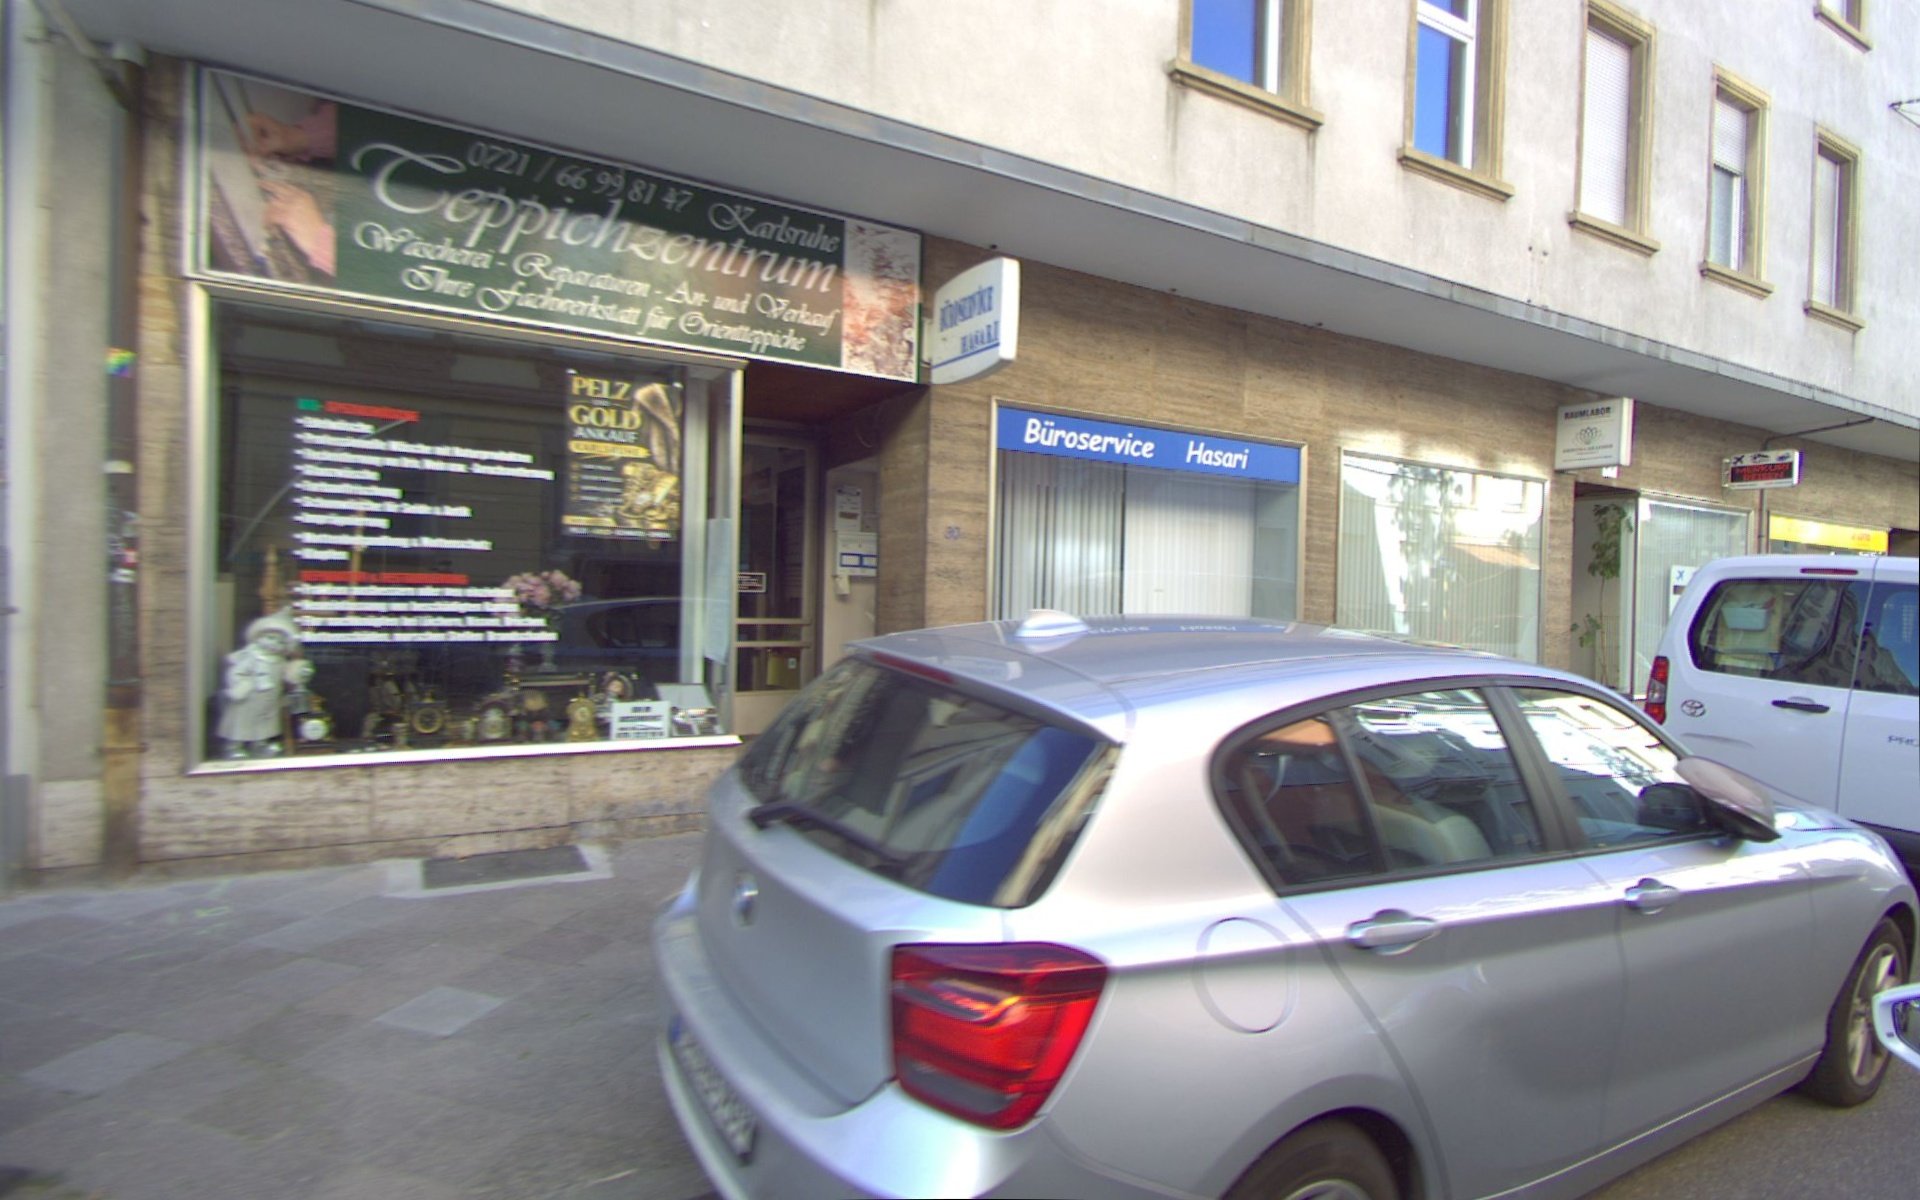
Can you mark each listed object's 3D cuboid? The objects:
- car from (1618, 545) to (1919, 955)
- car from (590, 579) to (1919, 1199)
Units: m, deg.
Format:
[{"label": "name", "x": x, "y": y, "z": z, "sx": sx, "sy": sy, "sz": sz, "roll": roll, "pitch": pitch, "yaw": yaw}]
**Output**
[{"label": "car", "x": 6.317, "y": 0.768, "z": 6.354, "sx": 4.754, "sy": 1.924, "sz": 1.758, "roll": 2, "pitch": -2, "yaw": -31}, {"label": "car", "x": 1.338, "y": 0.809, "z": 3.105, "sx": 4.437, "sy": 1.543, "sz": 1.656, "roll": 1, "pitch": -2, "yaw": -31}]
